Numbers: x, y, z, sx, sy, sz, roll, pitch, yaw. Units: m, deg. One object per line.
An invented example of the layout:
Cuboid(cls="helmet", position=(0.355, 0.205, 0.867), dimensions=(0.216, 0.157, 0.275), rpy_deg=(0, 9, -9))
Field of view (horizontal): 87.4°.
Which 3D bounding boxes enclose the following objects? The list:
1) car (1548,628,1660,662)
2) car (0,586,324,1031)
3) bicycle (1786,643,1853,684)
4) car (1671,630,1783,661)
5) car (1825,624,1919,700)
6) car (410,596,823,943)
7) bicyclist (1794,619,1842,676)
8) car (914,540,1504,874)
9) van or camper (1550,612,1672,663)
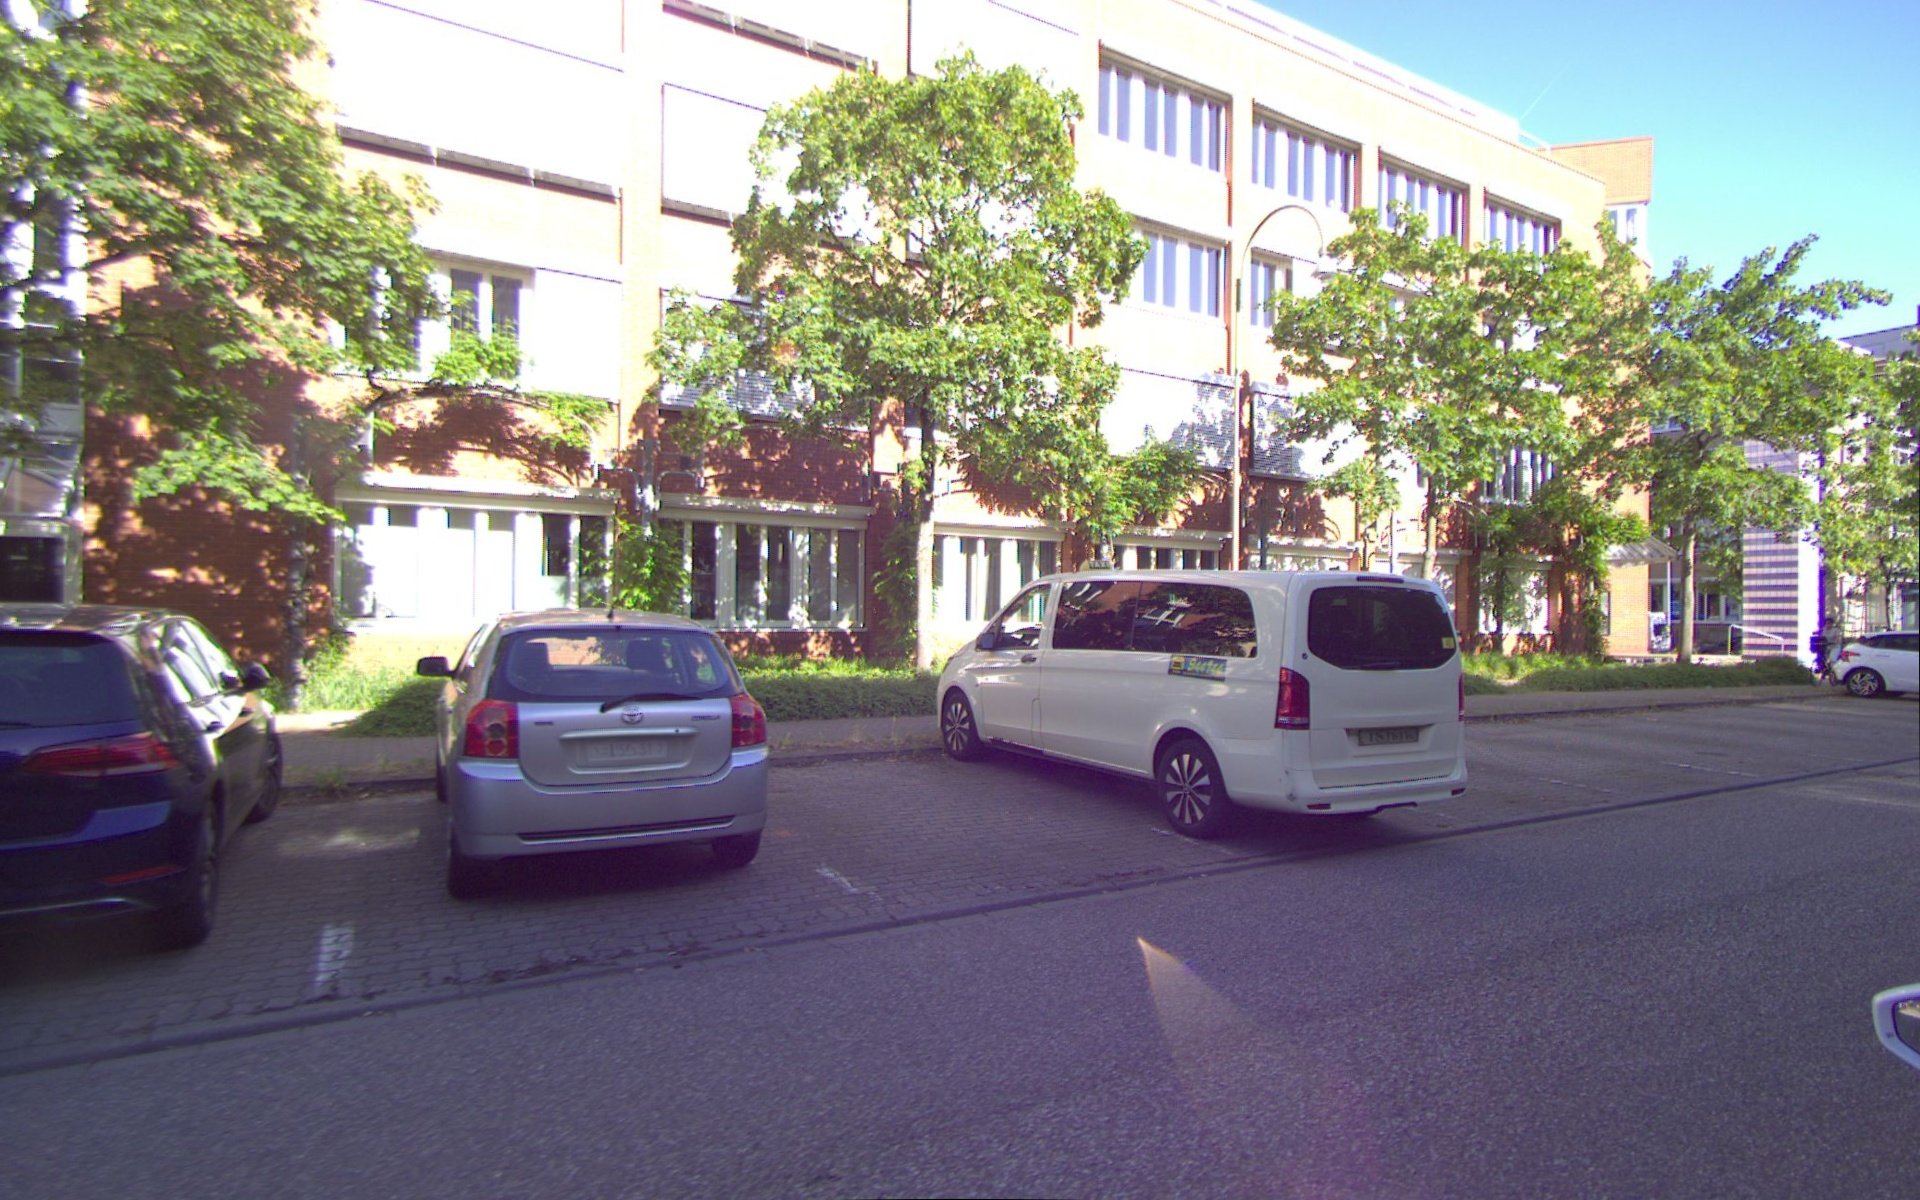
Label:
Cuboid(cls="car", position=(31.034, 2.196, 48.520), dimensions=(1.976, 1.496, 4.174), rpy_deg=(4, -4, -29))
Cuboid(cls="car", position=(-4.665, 0.706, 5.200), dimensions=(1.918, 1.497, 4.304), rpy_deg=(1, 0, -27))
Cuboid(cls="bicycle", position=(21.428, 1.565, 25.045), dimensions=(1.839, 0.994, 0.603), rpy_deg=(1, -1, -26))
Cuboid(cls="car", position=(39.542, 2.316, 51.857), dimensions=(1.976, 1.496, 4.173), rpy_deg=(-1, -1, -29))
Cuboid(cls="car", position=(20.444, 1.298, 20.420), dimensions=(1.786, 1.506, 3.967), rpy_deg=(1, 0, -30))
Cuboid(cls="car", position=(-2.573, 0.766, 6.843), dimensions=(1.918, 1.497, 4.304), rpy_deg=(1, 0, -27))
Cuboid(cls="bicyclist", position=(21.384, 1.174, 25.027), dimensions=(0.901, 1.371, 0.603), rpy_deg=(1, -1, -26))
Cuboid(cls="car", position=(1.639, 0.612, 8.762), dimensions=(1.919, 1.993, 5.233), rpy_deg=(1, 1, -29))
Cuboid(cls="van or camper", position=(36.629, 2.090, 56.673), dimensions=(2.155, 2.710, 5.344), rpy_deg=(-1, -1, -30))
